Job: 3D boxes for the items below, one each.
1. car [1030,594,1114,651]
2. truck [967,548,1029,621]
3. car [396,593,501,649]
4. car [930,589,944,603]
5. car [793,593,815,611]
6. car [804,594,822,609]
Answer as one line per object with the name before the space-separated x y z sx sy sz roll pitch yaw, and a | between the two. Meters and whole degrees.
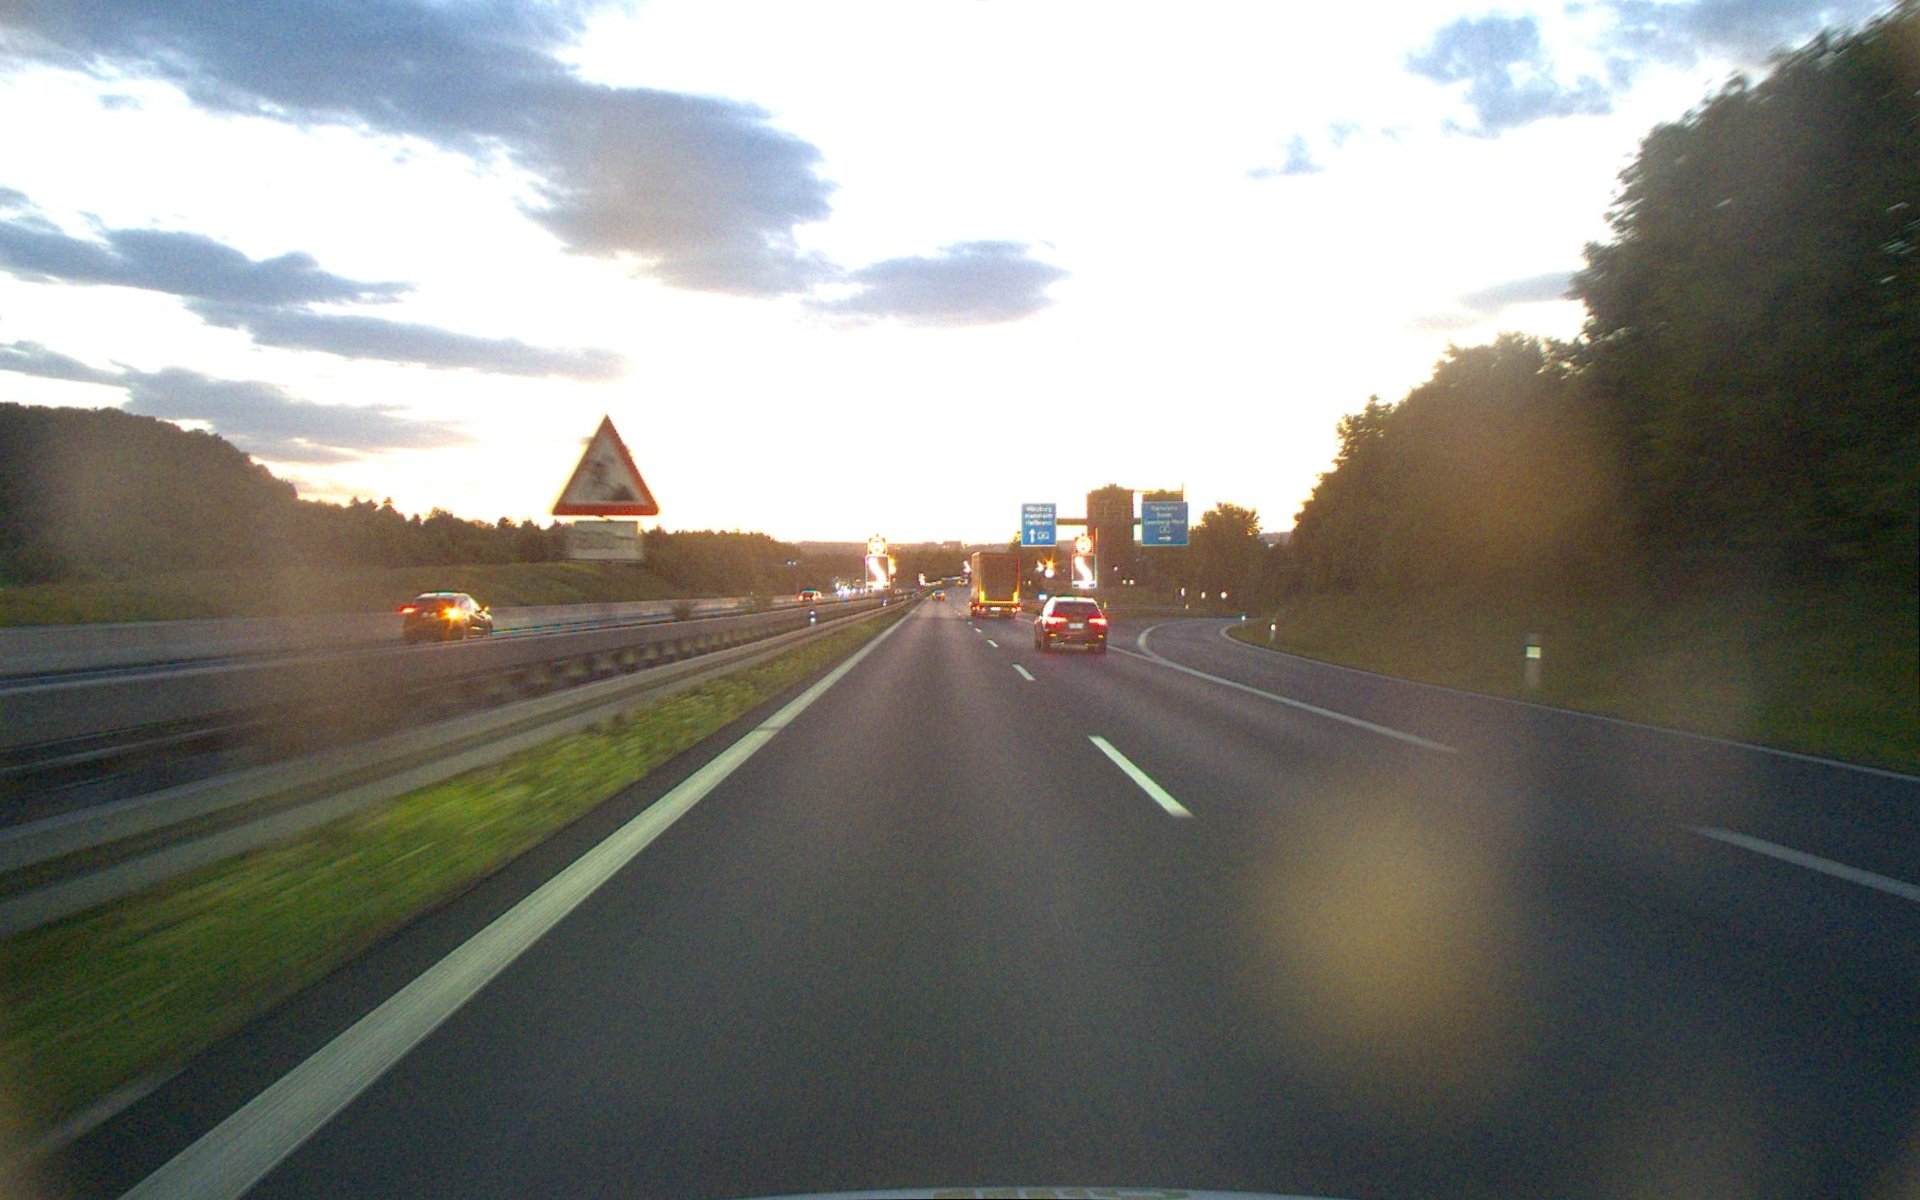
car | 3.052 0.588 45.696 1.876 1.467 3.998 -1 0 -2
truck | 2.353 -0.955 106.153 3.439 4.376 9.888 -1 0 -1
car | -15.548 0.618 50.491 1.834 1.588 4.519 -1 0 -1
car | -3.459 -0.532 249.114 1.953 2.049 3.999 -1 0 -1
car | -14.495 0.151 153.767 1.678 1.634 3.721 -1 0 -1
car | -15.987 0.126 179.863 1.604 1.573 3.394 -1 0 -1
